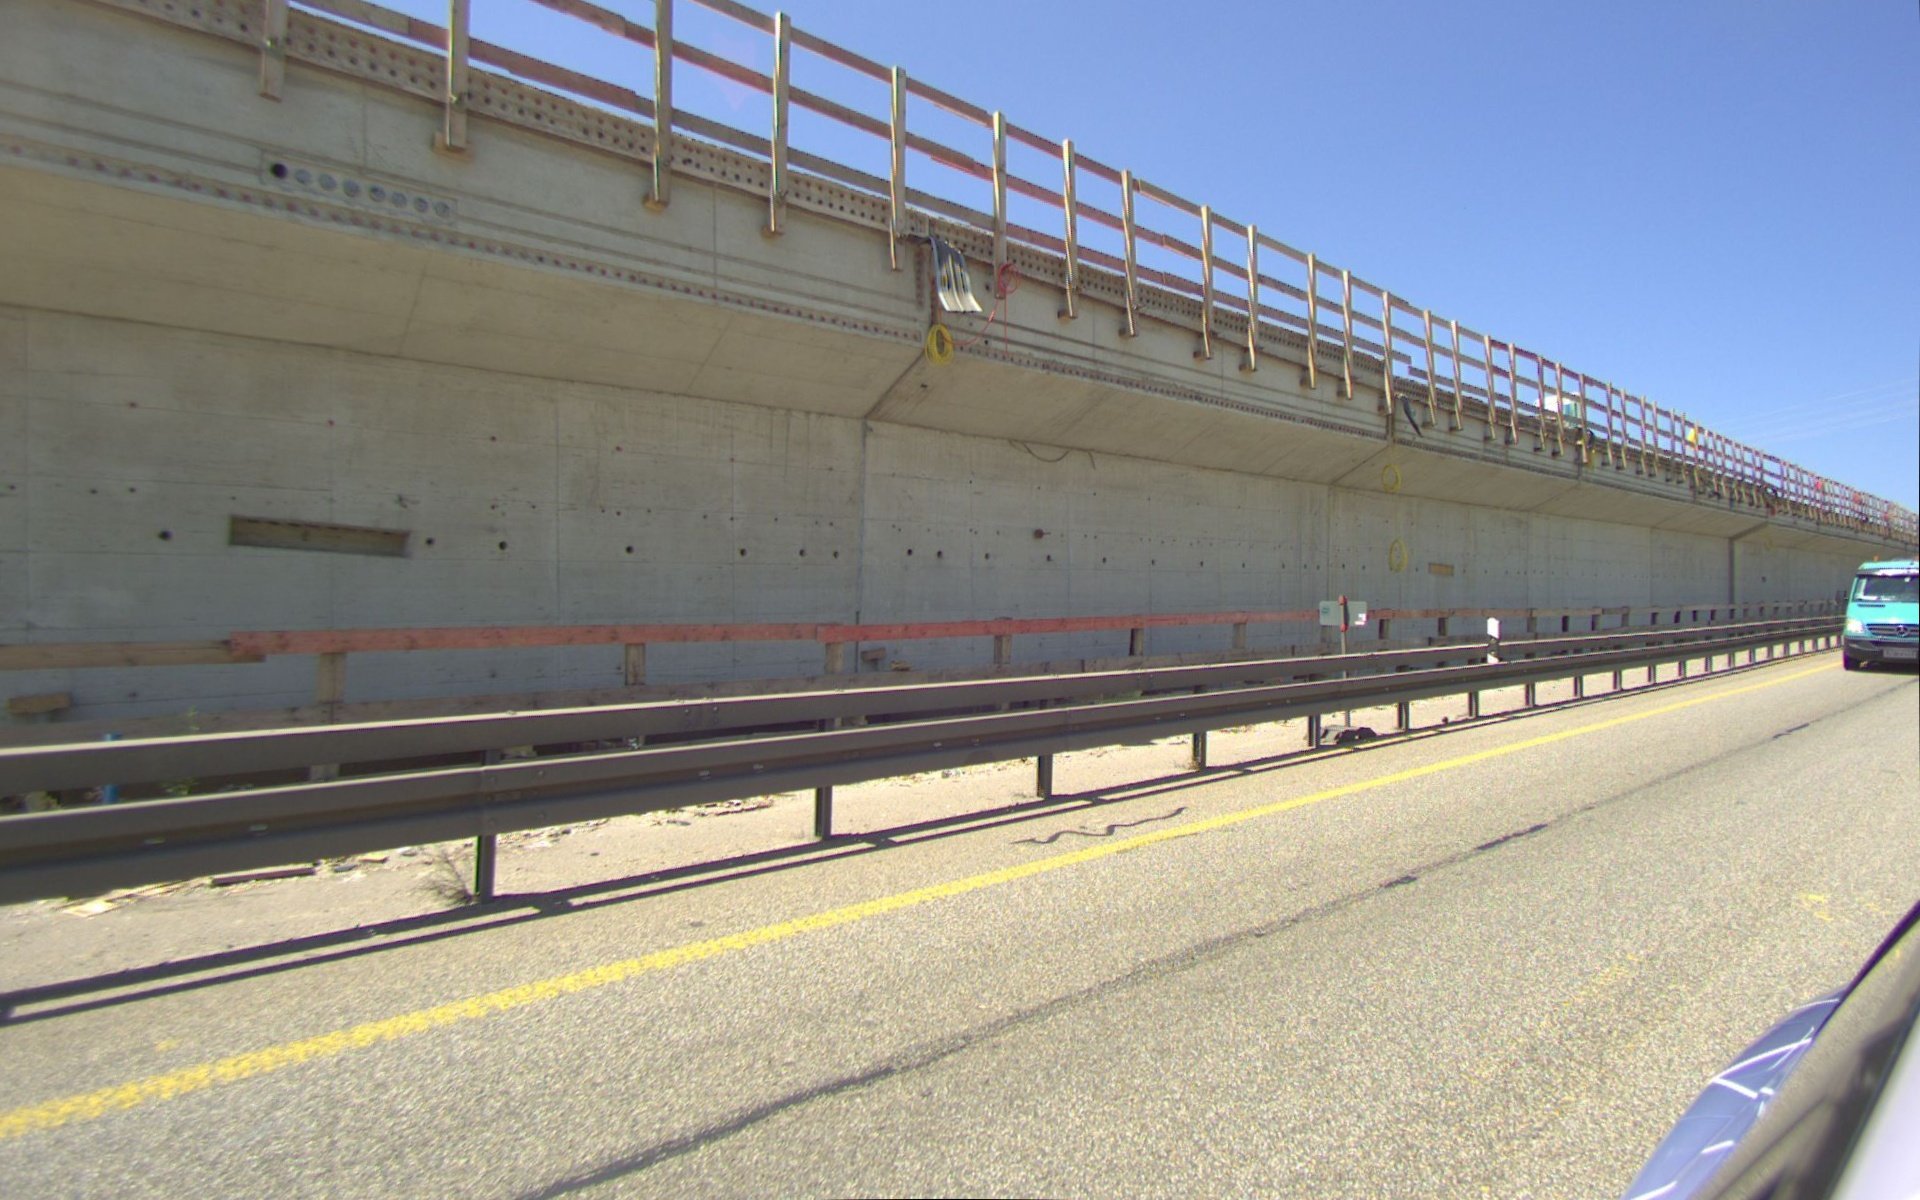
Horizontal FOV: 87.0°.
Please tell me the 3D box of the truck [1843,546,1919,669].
[{"bbox_3d":[21.335,0.052,22.072,7.304,2.386,2.138,-2,1,-41],"label":"truck"}]
